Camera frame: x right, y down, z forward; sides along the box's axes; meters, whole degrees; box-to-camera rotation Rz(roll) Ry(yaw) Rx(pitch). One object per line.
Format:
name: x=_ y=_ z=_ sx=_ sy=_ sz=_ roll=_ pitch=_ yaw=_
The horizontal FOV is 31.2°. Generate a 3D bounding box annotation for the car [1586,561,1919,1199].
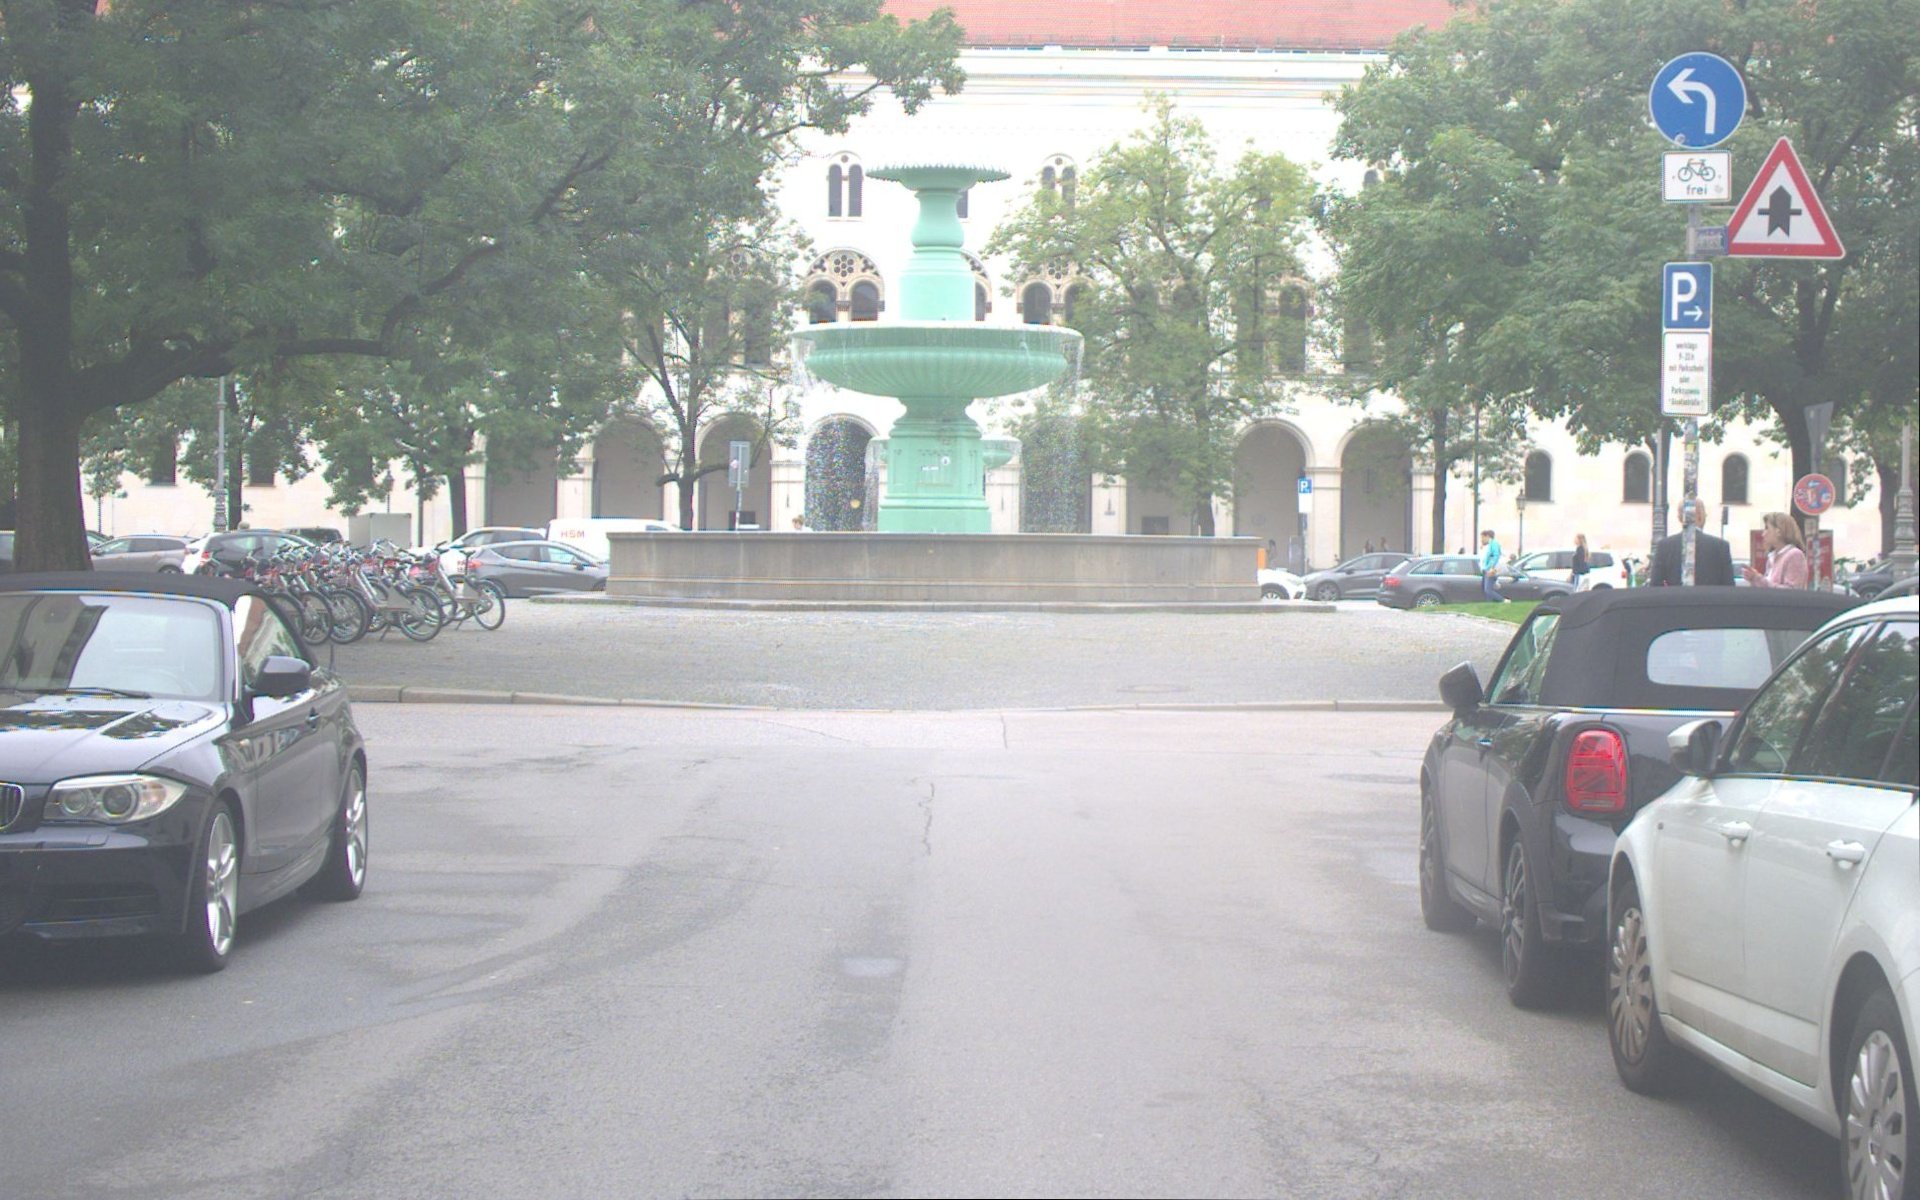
car: x=2.737 y=0.673 z=8.088 sx=1.789 sy=1.471 sz=4.313 roll=0 pitch=1 yaw=1

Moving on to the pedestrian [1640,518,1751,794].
pedestrian: x=4.877 y=0.363 z=22.821 sx=0.642 sy=1.802 sz=0.489 roll=1 pitch=1 yaw=6

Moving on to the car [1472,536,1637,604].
car: x=16.196 y=-0.835 z=93.798 sx=4.096 sy=1.735 sz=1.747 roll=1 pitch=1 yaw=-3

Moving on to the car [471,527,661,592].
car: x=-8.646 y=-0.905 z=75.763 sx=3.987 sy=1.371 sz=2.000 roll=0 pitch=1 yaw=-1

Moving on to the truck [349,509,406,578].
truck: x=-22.099 y=-2.163 z=130.392 sx=1.993 sy=2.480 sz=4.001 roll=1 pitch=2 yaw=-11

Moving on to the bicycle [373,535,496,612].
bicycle: x=-7.342 y=-0.375 z=48.029 sx=1.536 sy=1.016 sz=0.698 roll=2 pitch=1 yaw=11

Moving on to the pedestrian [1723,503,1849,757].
pedestrian: x=5.580 y=0.195 z=23.253 sx=0.620 sy=1.676 sz=0.546 roll=2 pitch=1 yaw=-6

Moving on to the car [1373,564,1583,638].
car: x=11.365 y=0.010 z=75.587 sx=4.357 sy=1.519 sz=1.804 roll=1 pitch=1 yaw=2

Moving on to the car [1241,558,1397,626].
car: x=9.770 y=-0.226 z=93.737 sx=3.987 sy=1.744 sz=1.808 roll=1 pitch=1 yaw=-1

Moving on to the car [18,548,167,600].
car: x=-23.713 y=-0.720 z=94.019 sx=3.671 sy=1.371 sz=1.603 roll=0 pitch=1 yaw=-1

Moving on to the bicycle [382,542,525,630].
bicycle: x=-6.691 y=-0.190 z=45.441 sx=1.711 sy=1.095 sz=0.698 roll=2 pitch=1 yaw=11

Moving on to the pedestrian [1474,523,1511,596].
pedestrian: x=10.641 y=-0.815 z=68.700 sx=0.583 sy=1.460 sz=0.547 roll=1 pitch=1 yaw=24

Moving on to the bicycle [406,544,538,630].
bicycle: x=-6.549 y=-0.177 z=46.117 sx=1.619 sy=1.095 sz=0.616 roll=2 pitch=1 yaw=11

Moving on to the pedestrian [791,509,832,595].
pedestrian: x=-2.860 y=-0.935 z=66.303 sx=0.750 sy=1.634 sz=0.710 roll=1 pitch=1 yaw=0

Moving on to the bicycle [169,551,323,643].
bicycle: x=-8.429 y=-0.039 z=40.618 sx=1.619 sy=1.032 sz=0.698 roll=2 pitch=1 yaw=11

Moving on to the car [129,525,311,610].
car: x=-17.370 y=-0.776 z=80.836 sx=3.888 sy=1.862 sz=1.772 roll=1 pitch=1 yaw=-1

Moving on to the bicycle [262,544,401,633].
bicycle: x=-8.190 y=-0.156 z=44.836 sx=1.619 sy=1.095 sz=0.698 roll=2 pitch=1 yaw=11

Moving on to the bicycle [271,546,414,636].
bicycle: x=-7.850 y=-0.120 z=43.719 sx=1.619 sy=1.095 sz=0.698 roll=2 pitch=1 yaw=11

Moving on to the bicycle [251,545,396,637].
bicycle: x=-7.957 y=-0.117 z=42.977 sx=1.619 sy=1.095 sz=0.698 roll=2 pitch=1 yaw=11

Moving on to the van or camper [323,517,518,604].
van or camper: x=-13.563 y=-0.981 z=86.596 sx=4.579 sy=2.007 sz=2.000 roll=-2 pitch=0 yaw=-2

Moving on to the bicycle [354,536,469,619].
bicycle: x=-7.531 y=-0.316 z=47.244 sx=1.401 sy=1.095 sz=0.656 roll=2 pitch=1 yaw=11

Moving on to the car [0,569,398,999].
car: x=-3.381 y=0.587 z=13.278 sx=1.698 sy=1.388 sz=4.212 roll=-1 pitch=0 yaw=0

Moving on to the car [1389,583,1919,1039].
car: x=2.614 y=0.671 z=12.960 sx=1.540 sy=1.421 sz=3.772 roll=1 pitch=1 yaw=1

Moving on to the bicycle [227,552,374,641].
bicycle: x=-8.090 y=-0.047 z=42.188 sx=1.619 sy=1.032 sz=0.698 roll=2 pitch=1 yaw=11

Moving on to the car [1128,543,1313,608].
car: x=5.705 y=-0.545 z=75.705 sx=3.987 sy=1.398 sz=1.824 roll=0 pitch=1 yaw=3

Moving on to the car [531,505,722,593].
car: x=-8.054 y=-1.245 z=83.227 sx=4.327 sy=2.007 sz=1.824 roll=1 pitch=1 yaw=4

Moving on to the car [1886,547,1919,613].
car: x=22.769 y=-0.436 z=75.536 sx=4.357 sy=1.413 sz=1.804 roll=1 pitch=1 yaw=2

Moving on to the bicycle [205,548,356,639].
bicycle: x=-8.191 y=-0.084 z=41.453 sx=1.619 sy=1.032 sz=0.698 roll=2 pitch=1 yaw=11
